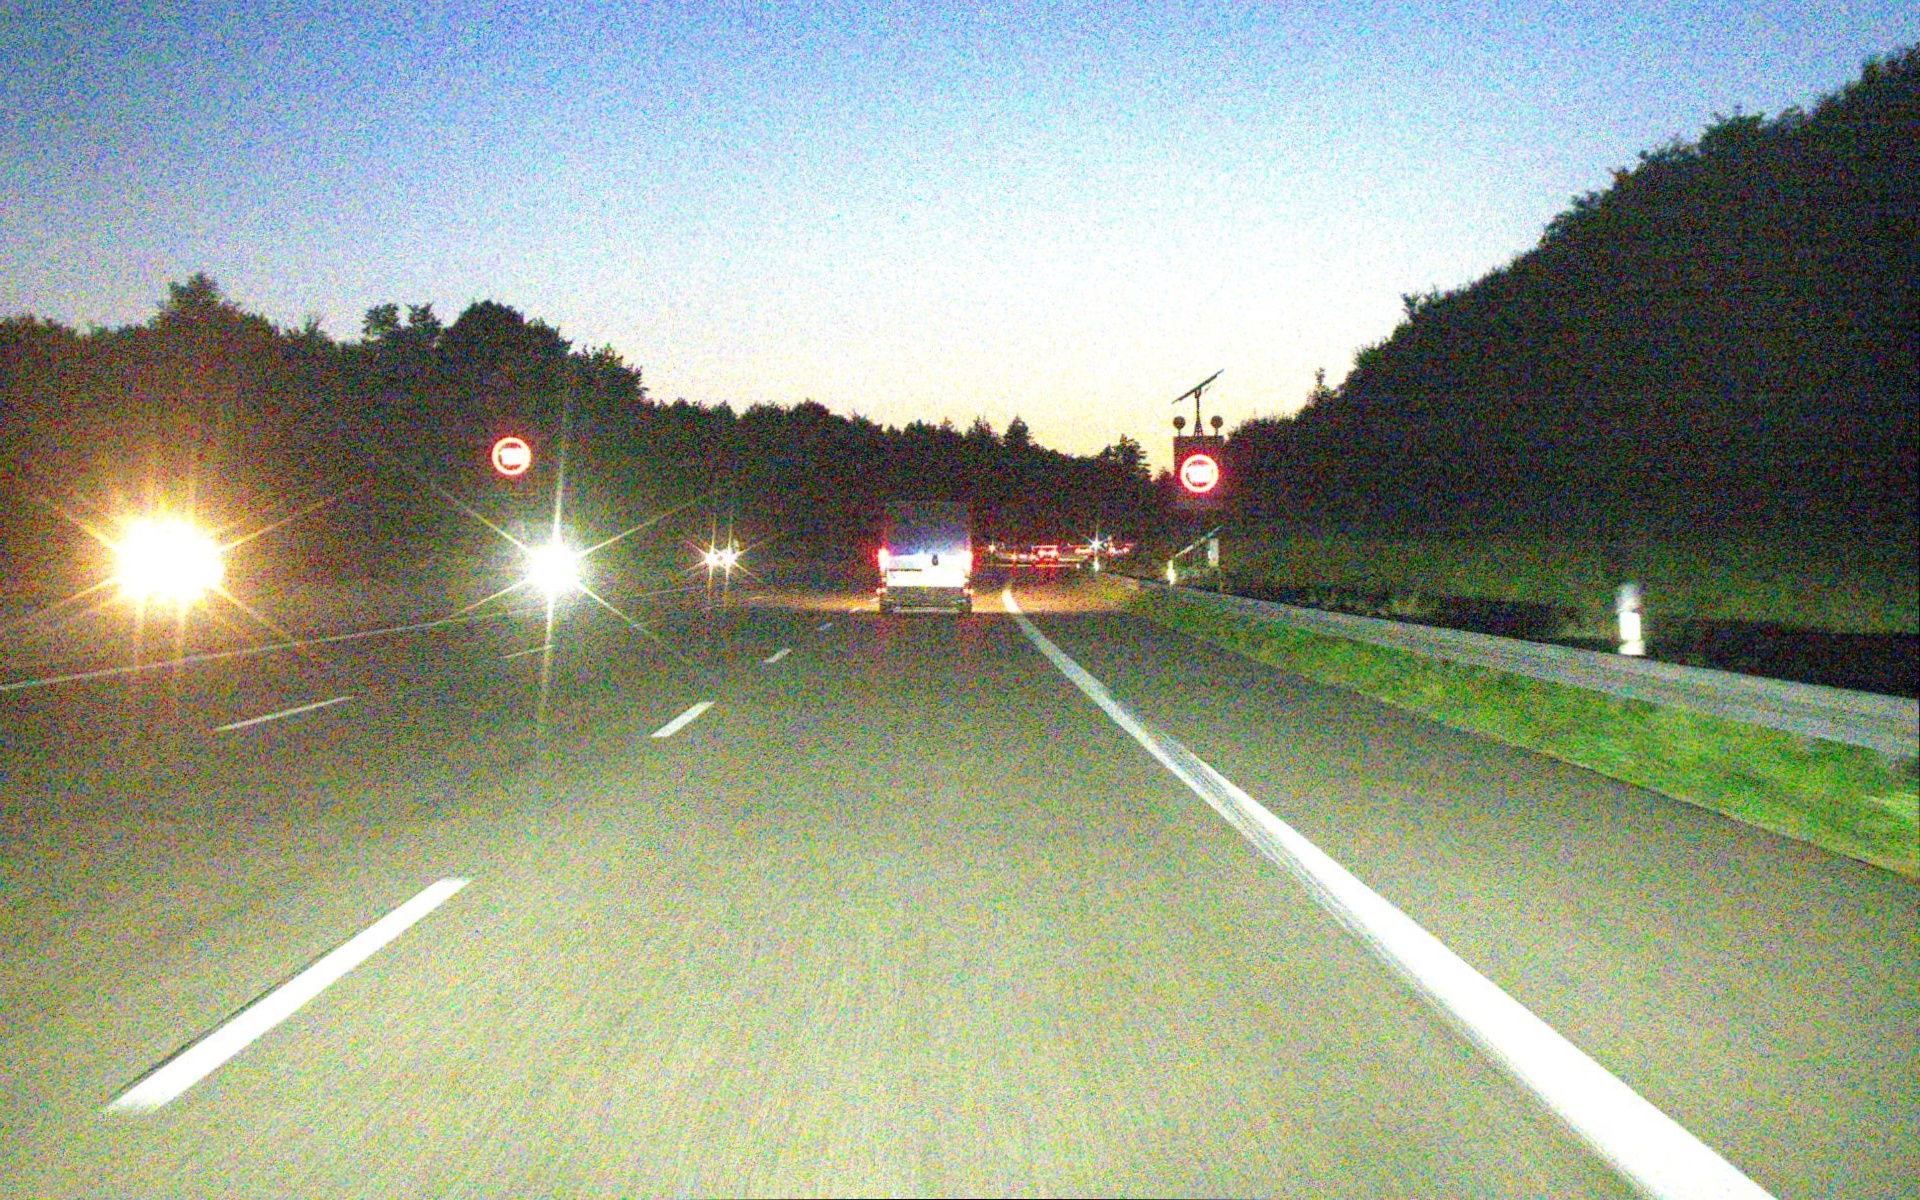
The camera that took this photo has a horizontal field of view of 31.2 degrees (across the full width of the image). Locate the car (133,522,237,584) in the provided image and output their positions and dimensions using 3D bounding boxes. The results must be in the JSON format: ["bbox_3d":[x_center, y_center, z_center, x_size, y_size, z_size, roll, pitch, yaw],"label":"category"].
[{"bbox_3d":[-23.174,-1.393,102.932,1.993,1.772,5.090,1,1,0],"label":"car"}]

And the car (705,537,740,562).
[{"bbox_3d":[-15.808,-3.356,228.927,1.993,1.597,4.213,1,1,0],"label":"car"}]

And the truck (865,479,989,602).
[{"bbox_3d":[-0.728,-1.326,78.249,2.630,2.615,8.685,1,1,0],"label":"truck"}]
